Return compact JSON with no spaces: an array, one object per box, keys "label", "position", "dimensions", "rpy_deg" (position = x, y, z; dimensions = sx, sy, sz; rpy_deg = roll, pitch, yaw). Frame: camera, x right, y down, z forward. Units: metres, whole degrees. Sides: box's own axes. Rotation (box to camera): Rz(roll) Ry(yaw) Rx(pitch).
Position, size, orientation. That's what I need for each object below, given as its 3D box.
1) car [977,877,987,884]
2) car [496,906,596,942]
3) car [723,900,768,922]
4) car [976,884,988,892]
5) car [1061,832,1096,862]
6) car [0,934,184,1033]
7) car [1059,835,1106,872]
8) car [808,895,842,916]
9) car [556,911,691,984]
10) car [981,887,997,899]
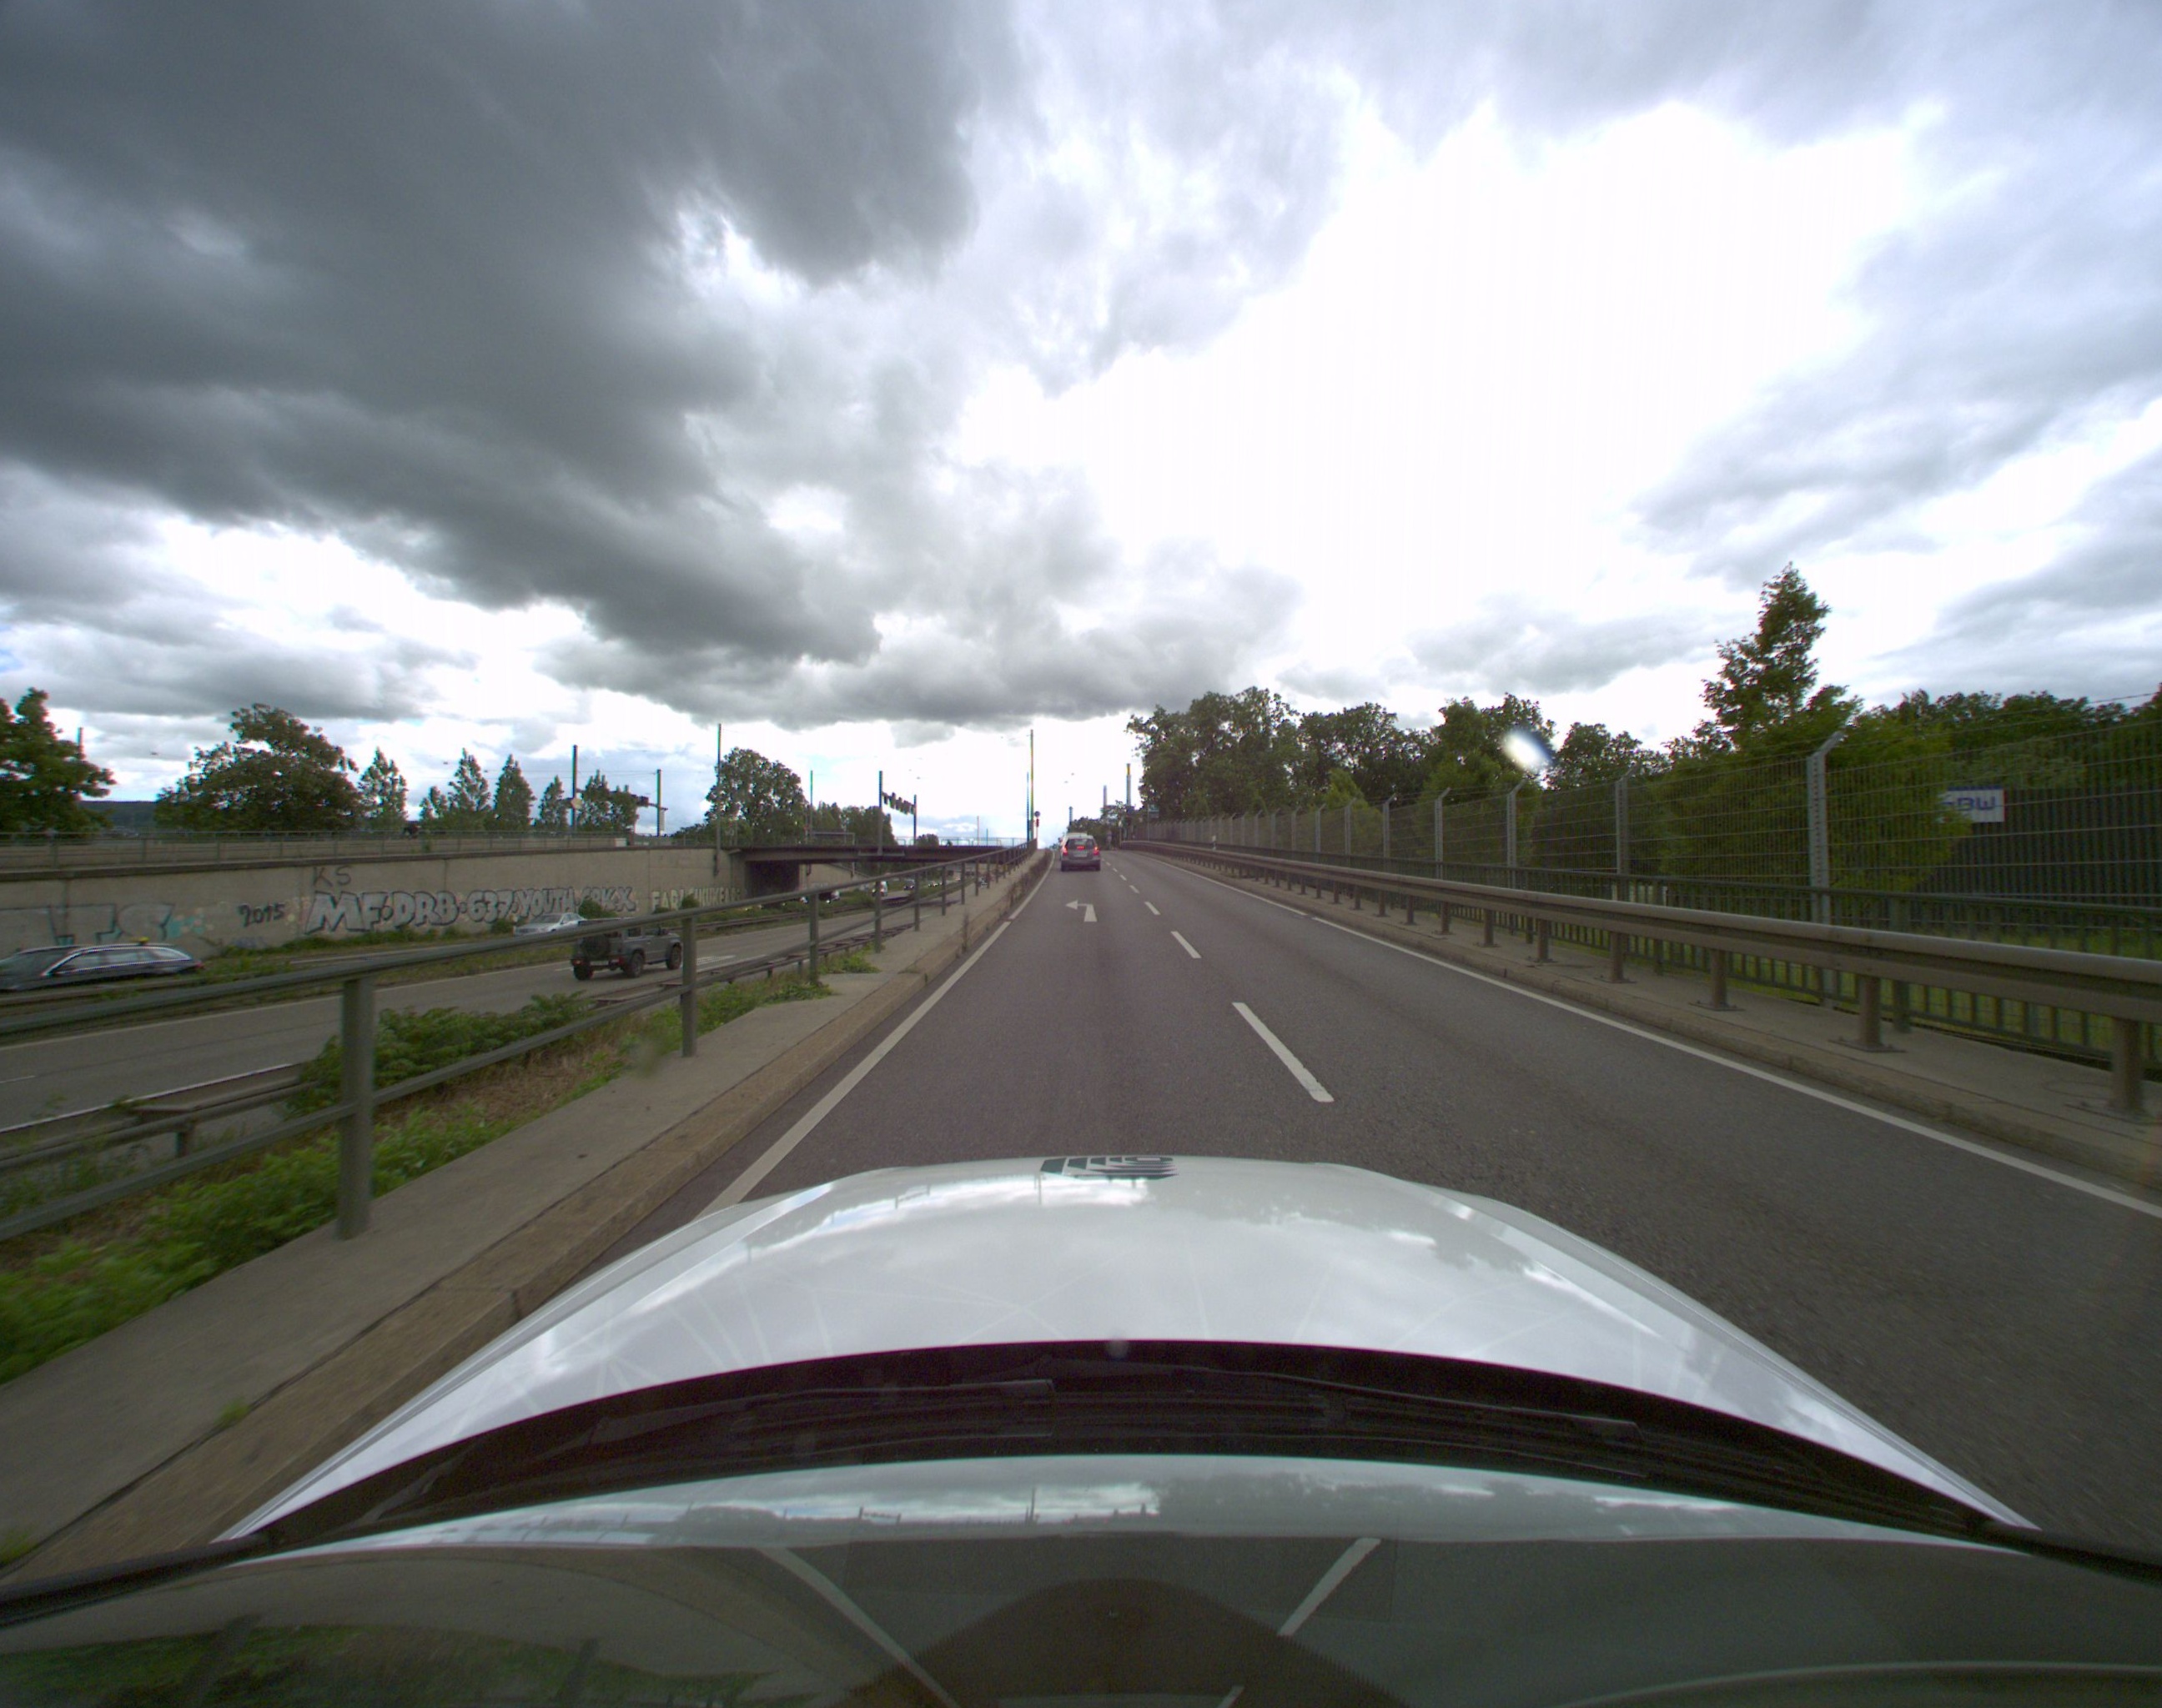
[{"label":"car","position":[-26.954,7.275,221.554],"dimensions":[1.986,1.684,4.002],"rpy_deg":[0,0,2]},{"label":"car","position":[-27.497,3.608,42.100],"dimensions":[1.987,1.693,4.701],"rpy_deg":[-2,-5,0]},{"label":"car","position":[-29.401,4.970,71.497],"dimensions":[1.988,1.720,4.700],"rpy_deg":[-2,-3,-1]},{"label":"car","position":[-23.010,7.925,189.378],"dimensions":[1.986,1.684,4.002],"rpy_deg":[0,0,2]},{"label":"car","position":[-0.176,-0.481,48.458],"dimensions":[1.987,1.602,4.000],"rpy_deg":[-1,2,-1]},{"label":"car","position":[-22.909,2.803,17.864],"dimensions":[1.986,1.728,4.001],"rpy_deg":[-1,-1,1]},{"label":"car","position":[0.133,-0.005,37.188],"dimensions":[1.741,1.581,4.091],"rpy_deg":[0,-1,6]},{"label":"car","position":[-27.251,5.483,86.929],"dimensions":[2.087,1.989,5.111],"rpy_deg":[-2,-2,-2]},{"label":"car","position":[-13.226,2.654,23.834],"dimensions":[1.675,1.736,3.997],"rpy_deg":[-2,-2,0]},{"label":"car","position":[-11.905,5.082,105.519],"dimensions":[1.990,1.420,3.993],"rpy_deg":[0,0,-4]}]
